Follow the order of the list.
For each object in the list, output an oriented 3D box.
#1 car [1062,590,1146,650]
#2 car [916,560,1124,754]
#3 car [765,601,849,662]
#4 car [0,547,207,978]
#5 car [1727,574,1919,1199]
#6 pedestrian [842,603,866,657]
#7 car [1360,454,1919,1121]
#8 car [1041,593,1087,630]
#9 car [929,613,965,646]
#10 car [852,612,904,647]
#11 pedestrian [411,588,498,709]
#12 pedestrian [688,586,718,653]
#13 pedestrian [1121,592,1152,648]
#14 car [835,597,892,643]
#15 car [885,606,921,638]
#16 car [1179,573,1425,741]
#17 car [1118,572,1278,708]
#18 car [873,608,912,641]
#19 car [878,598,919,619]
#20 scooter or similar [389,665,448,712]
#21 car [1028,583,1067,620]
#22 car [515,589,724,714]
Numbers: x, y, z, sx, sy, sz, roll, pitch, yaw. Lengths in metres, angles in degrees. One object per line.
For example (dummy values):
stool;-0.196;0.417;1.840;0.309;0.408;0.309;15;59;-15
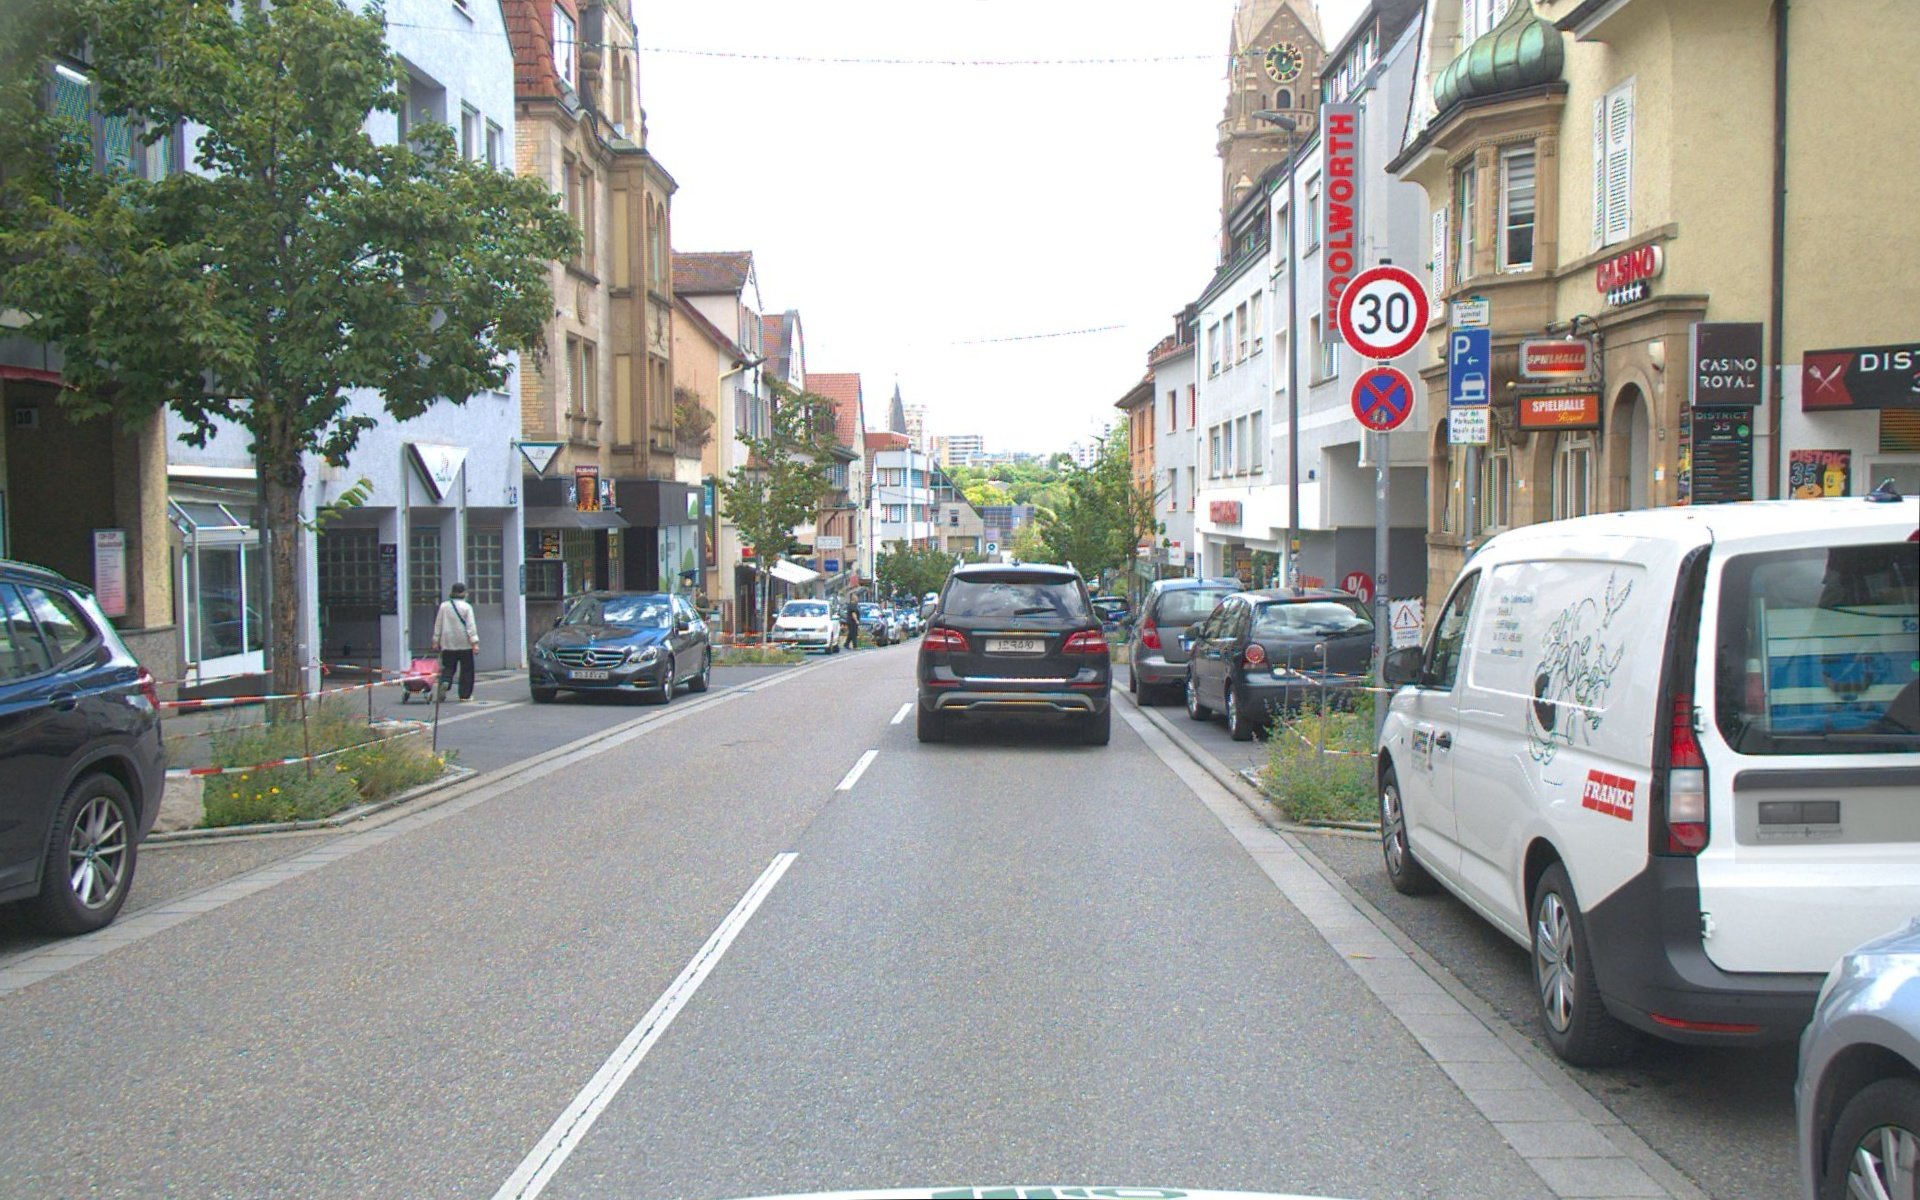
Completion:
car;3.956;0.585;46.011;1.714;1.524;3.797;-3;-1;-3
car;0.610;0.500;17.287;1.903;1.770;4.180;1;1;2
car;-4.201;0.831;46.062;1.887;1.538;4.262;2;0;0
car;-4.814;0.640;6.004;1.965;1.723;4.608;1;1;1
car;2.635;0.689;1.800;1.668;1.493;3.999;-1;0;-1
pedestrian;-3.383;0.961;52.698;0.722;1.701;0.863;0;0;-1
car;2.978;0.498;6.888;1.837;1.831;4.735;0;0;5
car;4.561;0.487;73.209;1.712;1.491;4.075;-4;0;0
car;-0.721;1.594;88.728;1.782;1.646;4.134;-2;-1;-2
car;-3.490;1.236;71.088;1.886;1.455;4.263;0;0;2
pedestrian;-6.478;0.614;21.242;0.809;1.489;0.810;2;0;1
pedestrian;-5.756;0.438;37.052;0.480;1.489;0.559;2;0;10
pedestrian;5.145;0.590;48.239;0.740;1.588;0.817;-2;0;-1
car;-3.666;0.766;63.469;1.887;1.650;4.639;1;-1;0
car;-3.154;1.214;92.020;1.888;1.623;4.456;2;0;-2
car;3.507;0.539;17.667;1.713;1.535;3.873;-2;0;-1
car;3.147;0.493;22.486;1.712;1.636;3.801;-2;0;2
car;-3.450;1.239;84.633;1.888;1.523;4.261;2;0;-2
car;-5.968;0.831;159.848;3.907;1.780;1.999;-3;-1;-3
scooter or similar;-6.714;1.094;20.529;0.514;0.528;0.573;2;0;1
car;4.779;0.064;90.637;1.898;1.924;4.707;-2;0;1
car;-4.658;0.641;23.391;1.887;1.518;4.842;2;0;0
